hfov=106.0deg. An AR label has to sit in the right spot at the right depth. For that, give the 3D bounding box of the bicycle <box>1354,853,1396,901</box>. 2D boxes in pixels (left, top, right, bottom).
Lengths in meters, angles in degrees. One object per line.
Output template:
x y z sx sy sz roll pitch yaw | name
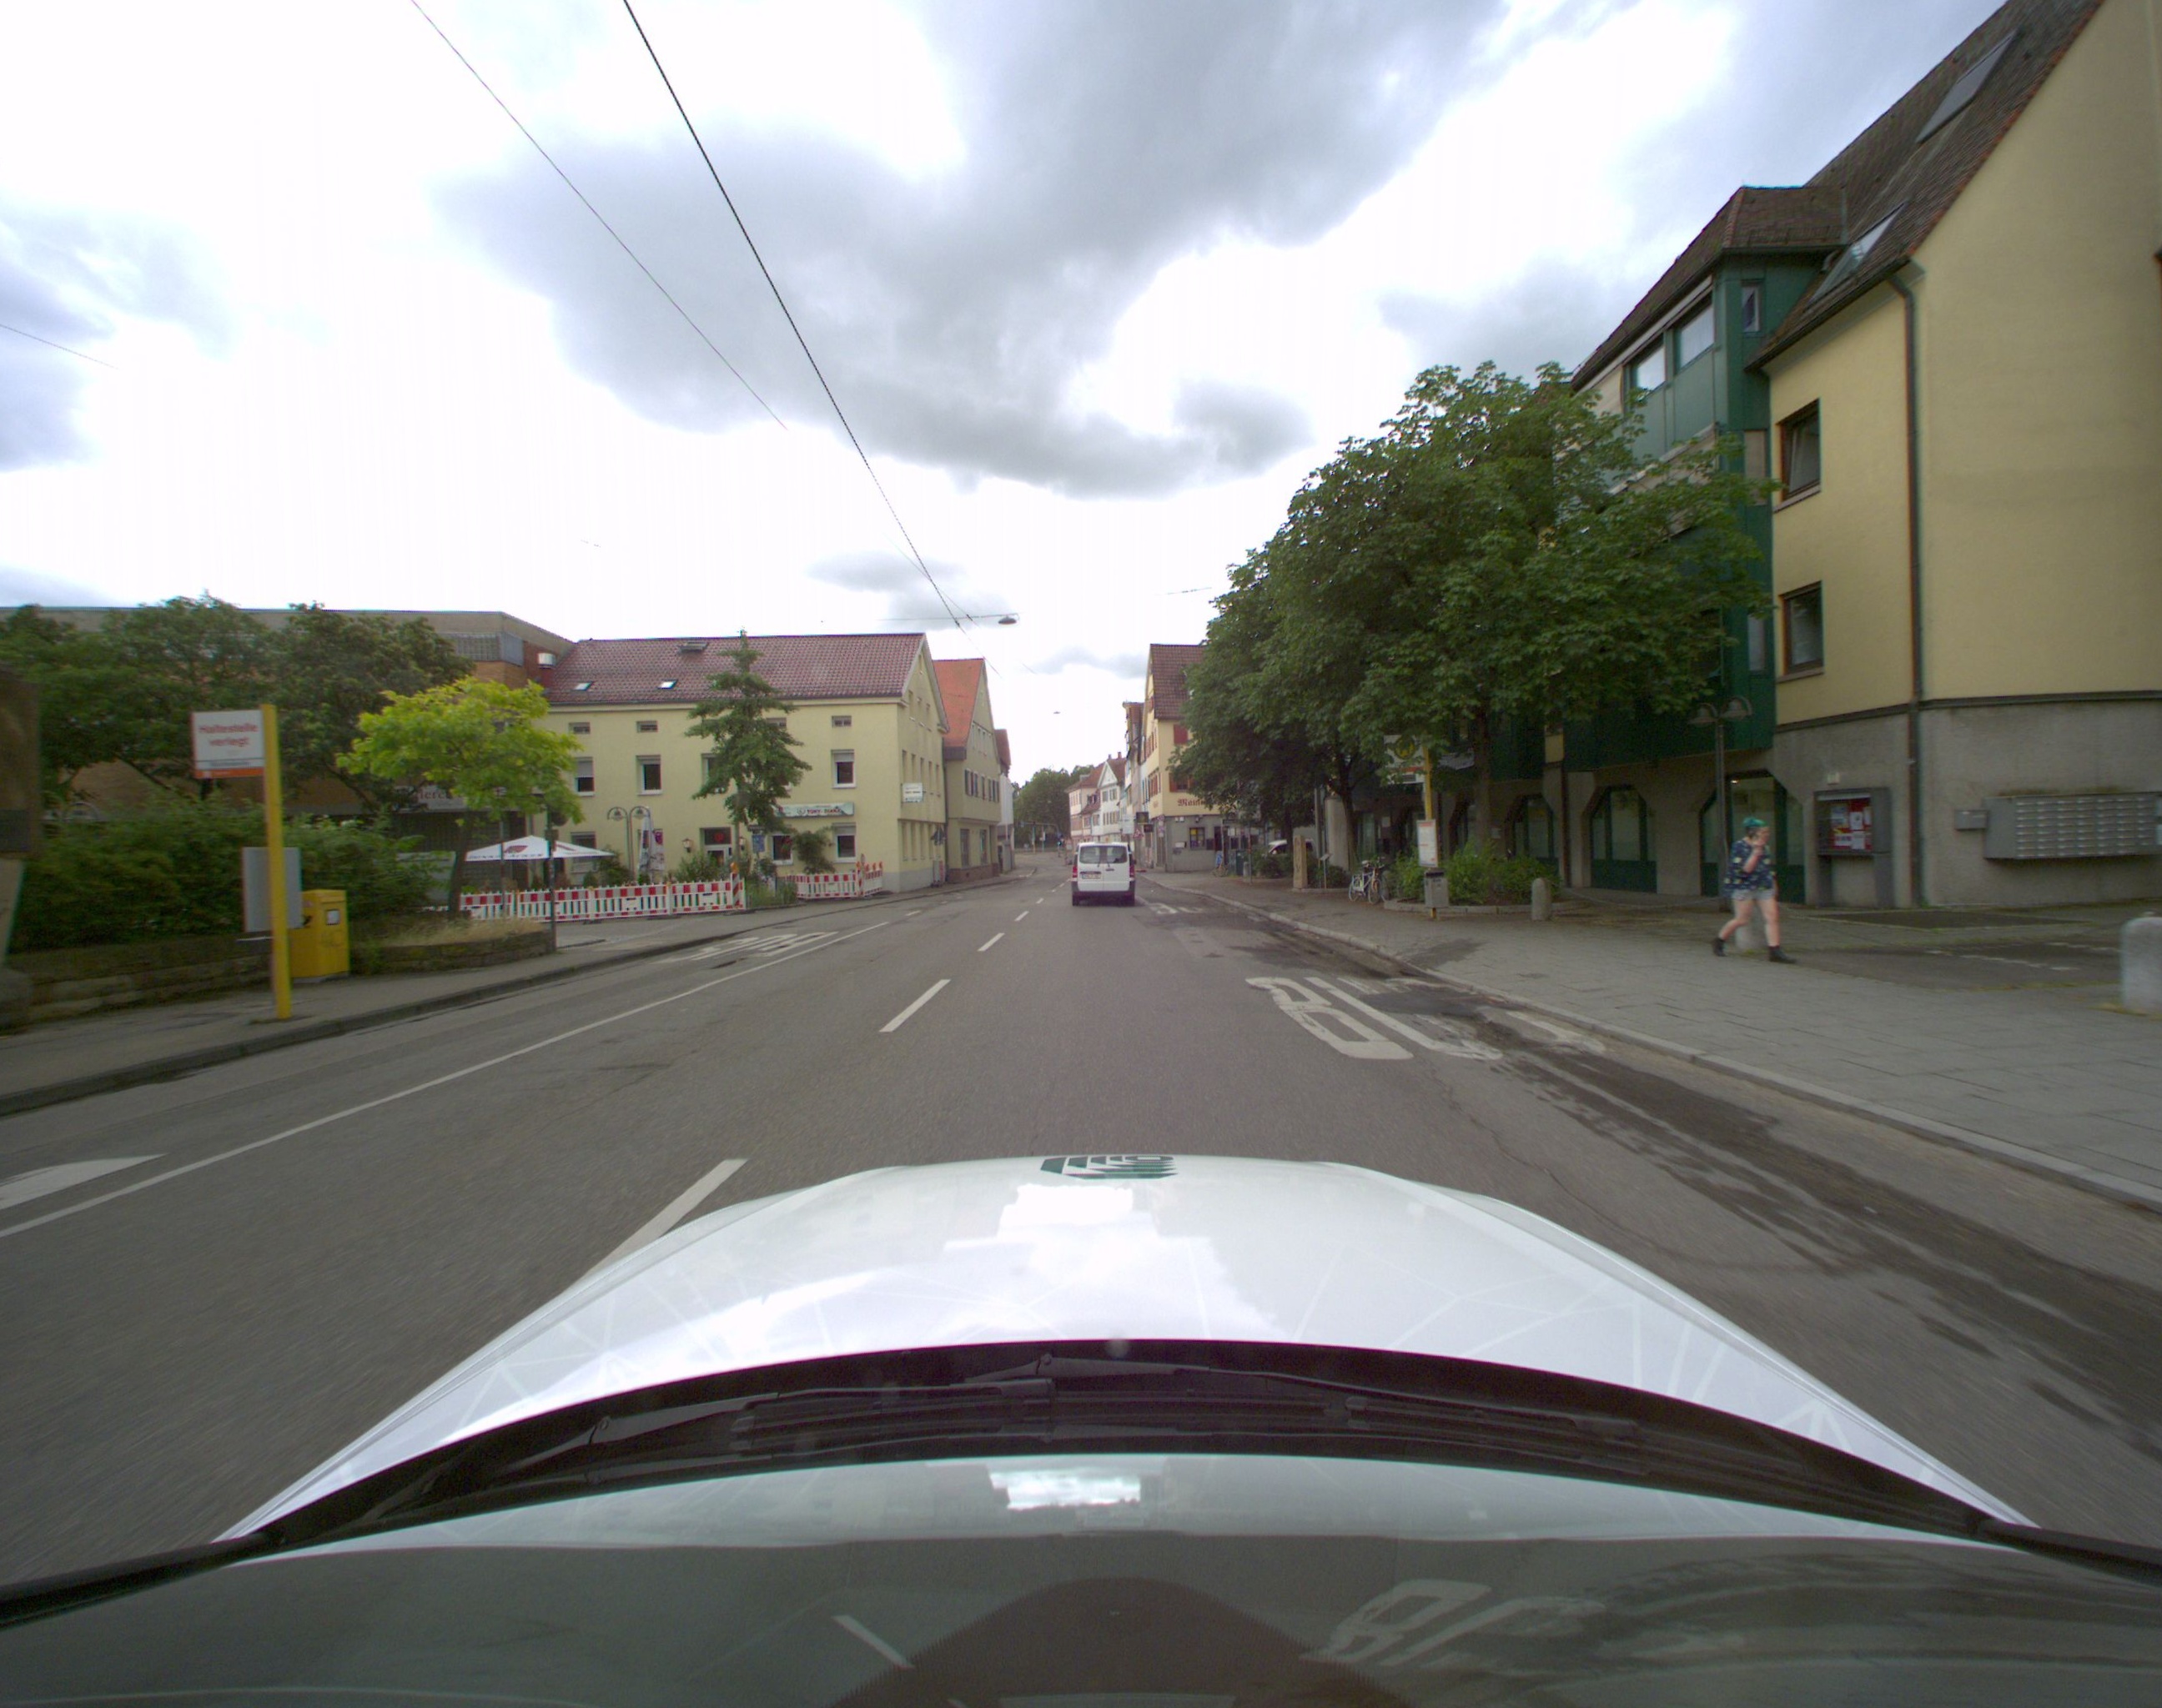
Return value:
7.403 0.556 20.549 0.332 1.141 1.958 -1 0 0 | bicycle

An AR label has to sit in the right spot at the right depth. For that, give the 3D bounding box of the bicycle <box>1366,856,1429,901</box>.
8.073 0.595 20.886 0.543 1.069 2.288 -3 0 -4 | bicycle

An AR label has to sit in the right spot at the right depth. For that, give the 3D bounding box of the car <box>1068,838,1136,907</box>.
0.682 0.513 25.269 1.865 1.912 4.002 -2 0 2 | car

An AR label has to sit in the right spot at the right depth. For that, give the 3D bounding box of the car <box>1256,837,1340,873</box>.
12.292 0.030 46.279 4.239 1.797 1.843 -2 2 -8 | car

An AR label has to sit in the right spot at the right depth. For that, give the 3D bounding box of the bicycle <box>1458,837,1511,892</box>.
10.101 0.254 20.445 0.332 1.300 1.958 -1 0 0 | bicycle

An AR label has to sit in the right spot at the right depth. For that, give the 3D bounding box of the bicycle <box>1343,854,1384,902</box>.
7.066 0.577 20.443 0.332 1.141 1.958 -1 0 0 | bicycle

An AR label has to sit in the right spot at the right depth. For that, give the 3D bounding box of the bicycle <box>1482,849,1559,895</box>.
10.980 0.418 20.434 0.543 1.069 2.288 -3 0 -4 | bicycle

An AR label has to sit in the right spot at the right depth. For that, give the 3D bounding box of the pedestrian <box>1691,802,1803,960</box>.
7.645 0.299 9.391 0.599 1.715 0.862 -2 0 8 | pedestrian

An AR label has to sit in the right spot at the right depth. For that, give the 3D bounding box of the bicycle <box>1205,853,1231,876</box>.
6.895 0.542 41.060 0.501 1.106 1.627 -3 0 -19 | bicycle
